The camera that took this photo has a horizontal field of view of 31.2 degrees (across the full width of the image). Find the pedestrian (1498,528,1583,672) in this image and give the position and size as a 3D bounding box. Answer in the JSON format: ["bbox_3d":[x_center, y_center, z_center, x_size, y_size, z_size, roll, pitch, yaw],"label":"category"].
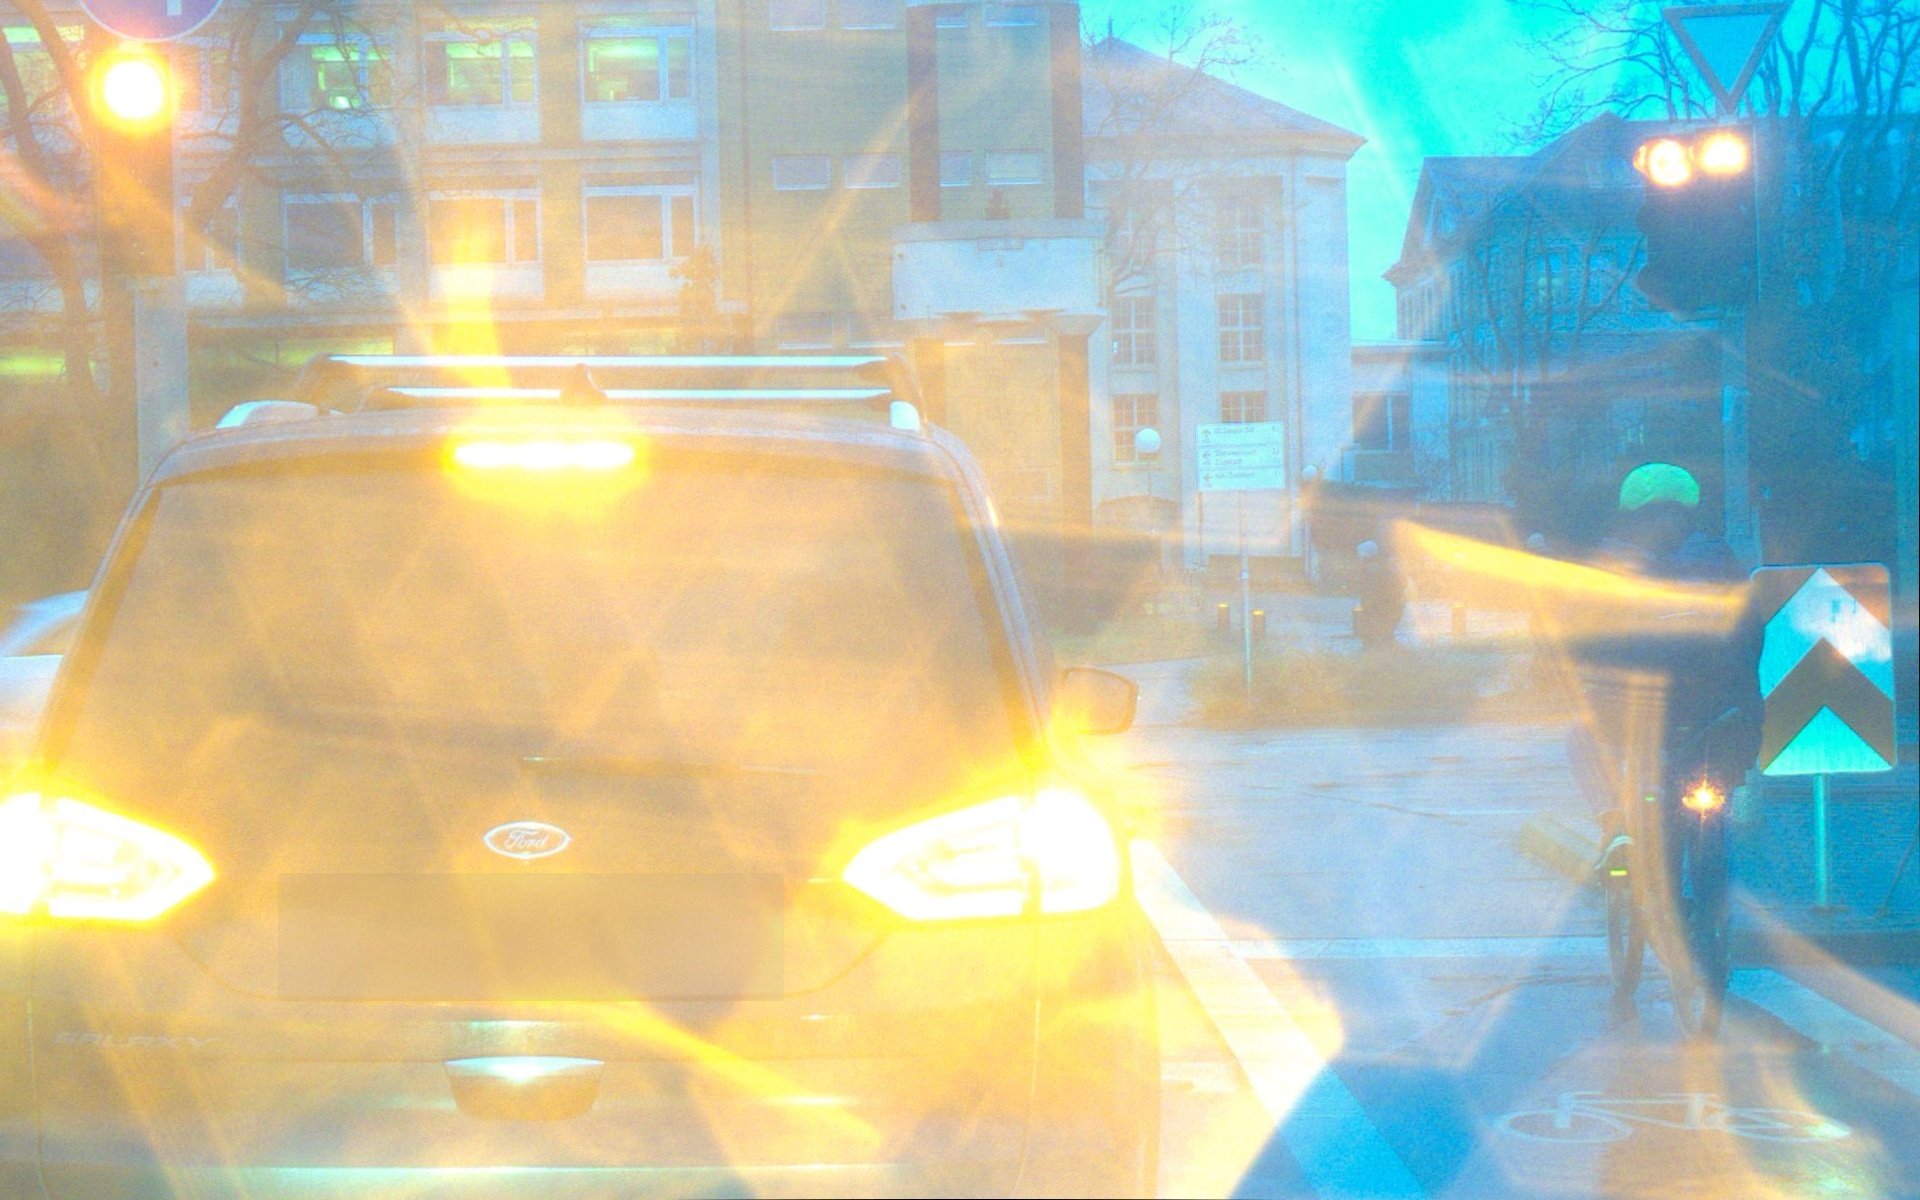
[{"bbox_3d":[7.443,-0.012,44.108,0.997,1.793,0.919,-2,1,9],"label":"pedestrian"}]

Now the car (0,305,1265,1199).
[{"bbox_3d":[-0.627,0.490,6.559,1.993,1.783,4.000,1,1,-1],"label":"car"}]

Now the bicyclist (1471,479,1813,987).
[{"bbox_3d":[2.042,0.377,10.438,0.783,1.448,1.134,1,0,-1],"label":"bicyclist"}]

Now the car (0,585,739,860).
[{"bbox_3d":[-3.926,0.751,21.519,4.686,1.547,1.938,-2,0,12],"label":"car"}]

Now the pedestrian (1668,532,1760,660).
[{"bbox_3d":[9.315,-0.059,42.499,0.924,1.527,1.043,-2,1,4],"label":"pedestrian"}]

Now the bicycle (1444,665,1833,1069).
[{"bbox_3d":[2.045,0.770,10.646,0.783,1.071,1.957,1,1,-1],"label":"bicycle"}]

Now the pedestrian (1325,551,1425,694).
[{"bbox_3d":[5.179,0.271,42.853,1.136,1.714,0.981,-2,1,10],"label":"pedestrian"}]
